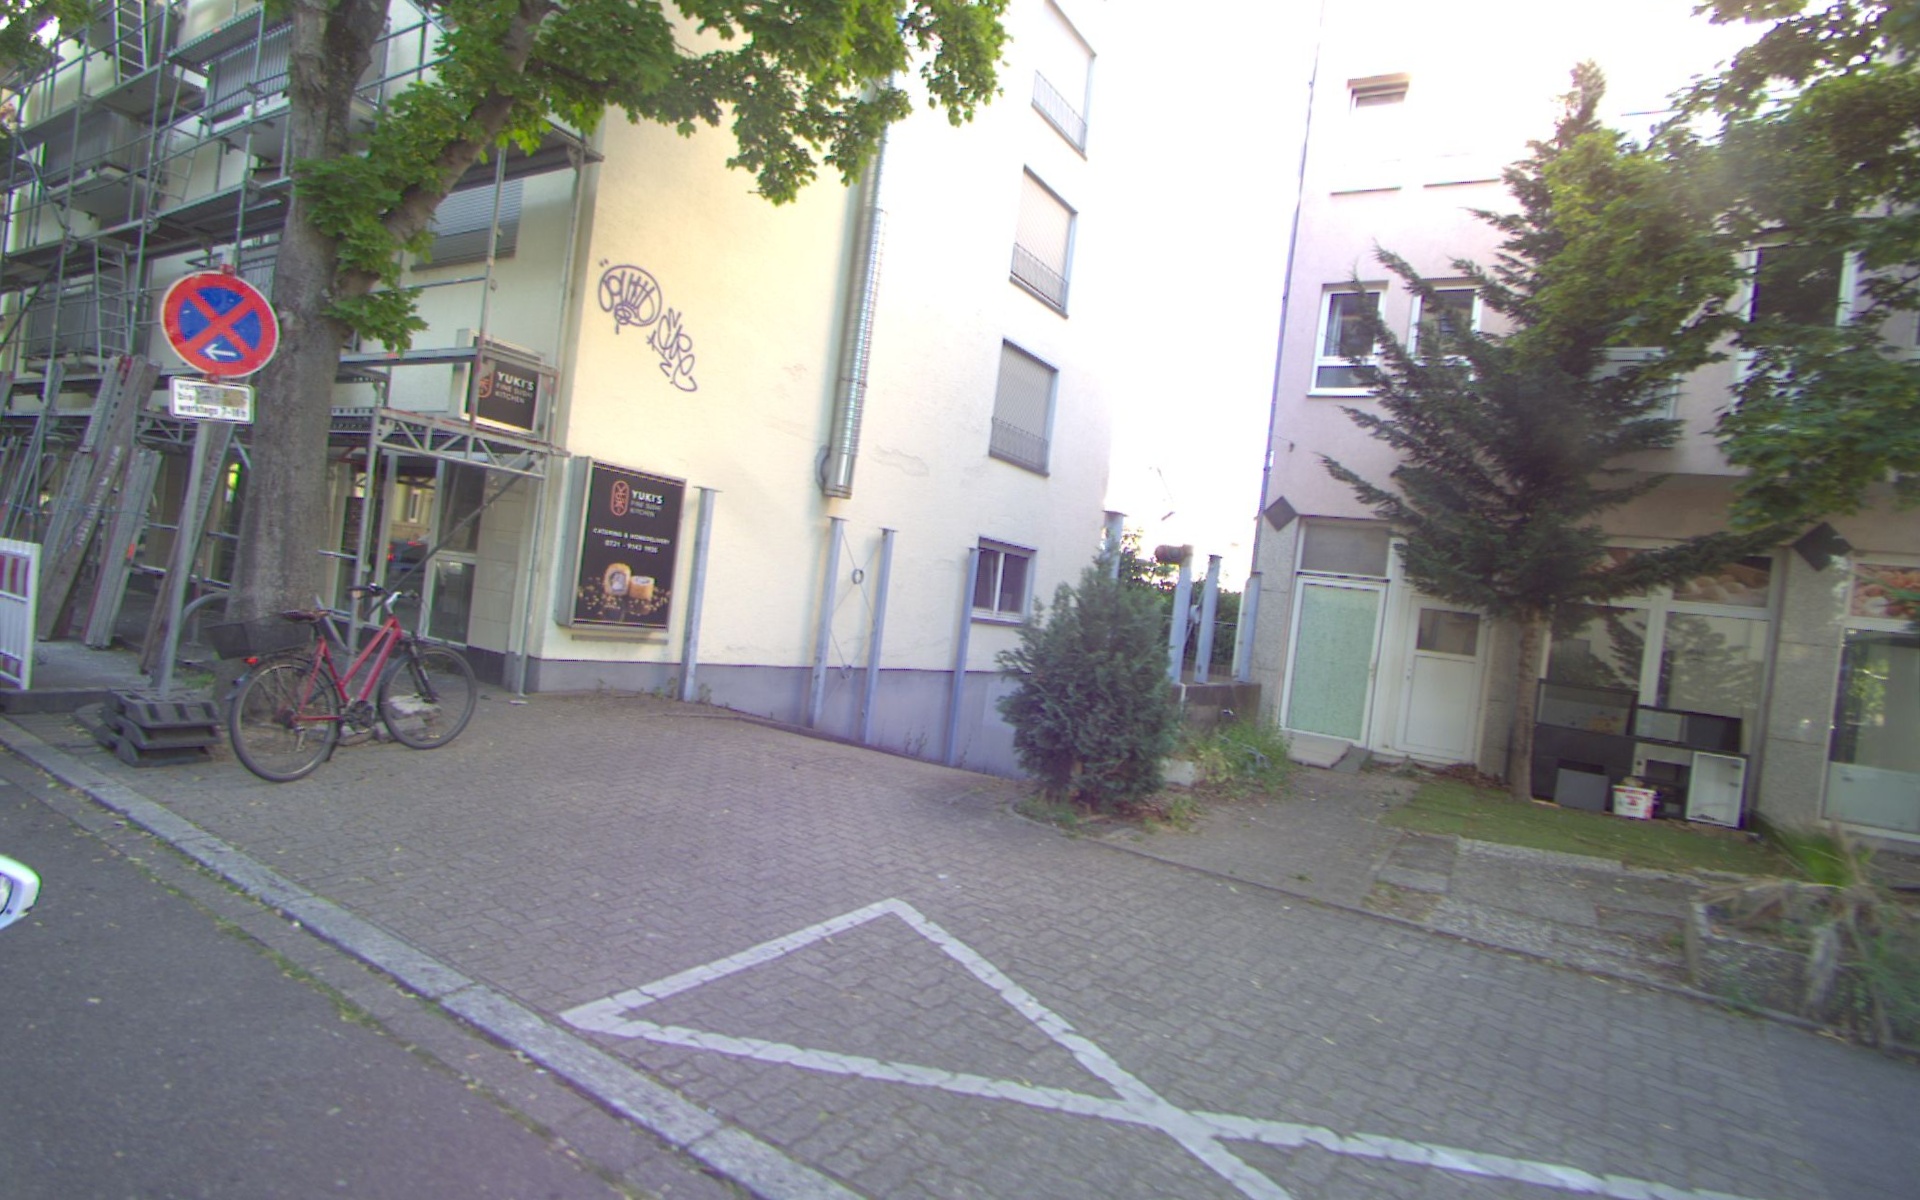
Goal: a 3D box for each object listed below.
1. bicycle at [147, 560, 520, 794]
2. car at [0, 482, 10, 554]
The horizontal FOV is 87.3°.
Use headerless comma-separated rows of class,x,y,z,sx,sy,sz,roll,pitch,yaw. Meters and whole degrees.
bicycle,-3.828,0.409,6.390,0.713,1.181,1.985,7,2,16
car,-7.102,-0.108,5.672,3.348,1.563,1.678,7,-2,33
